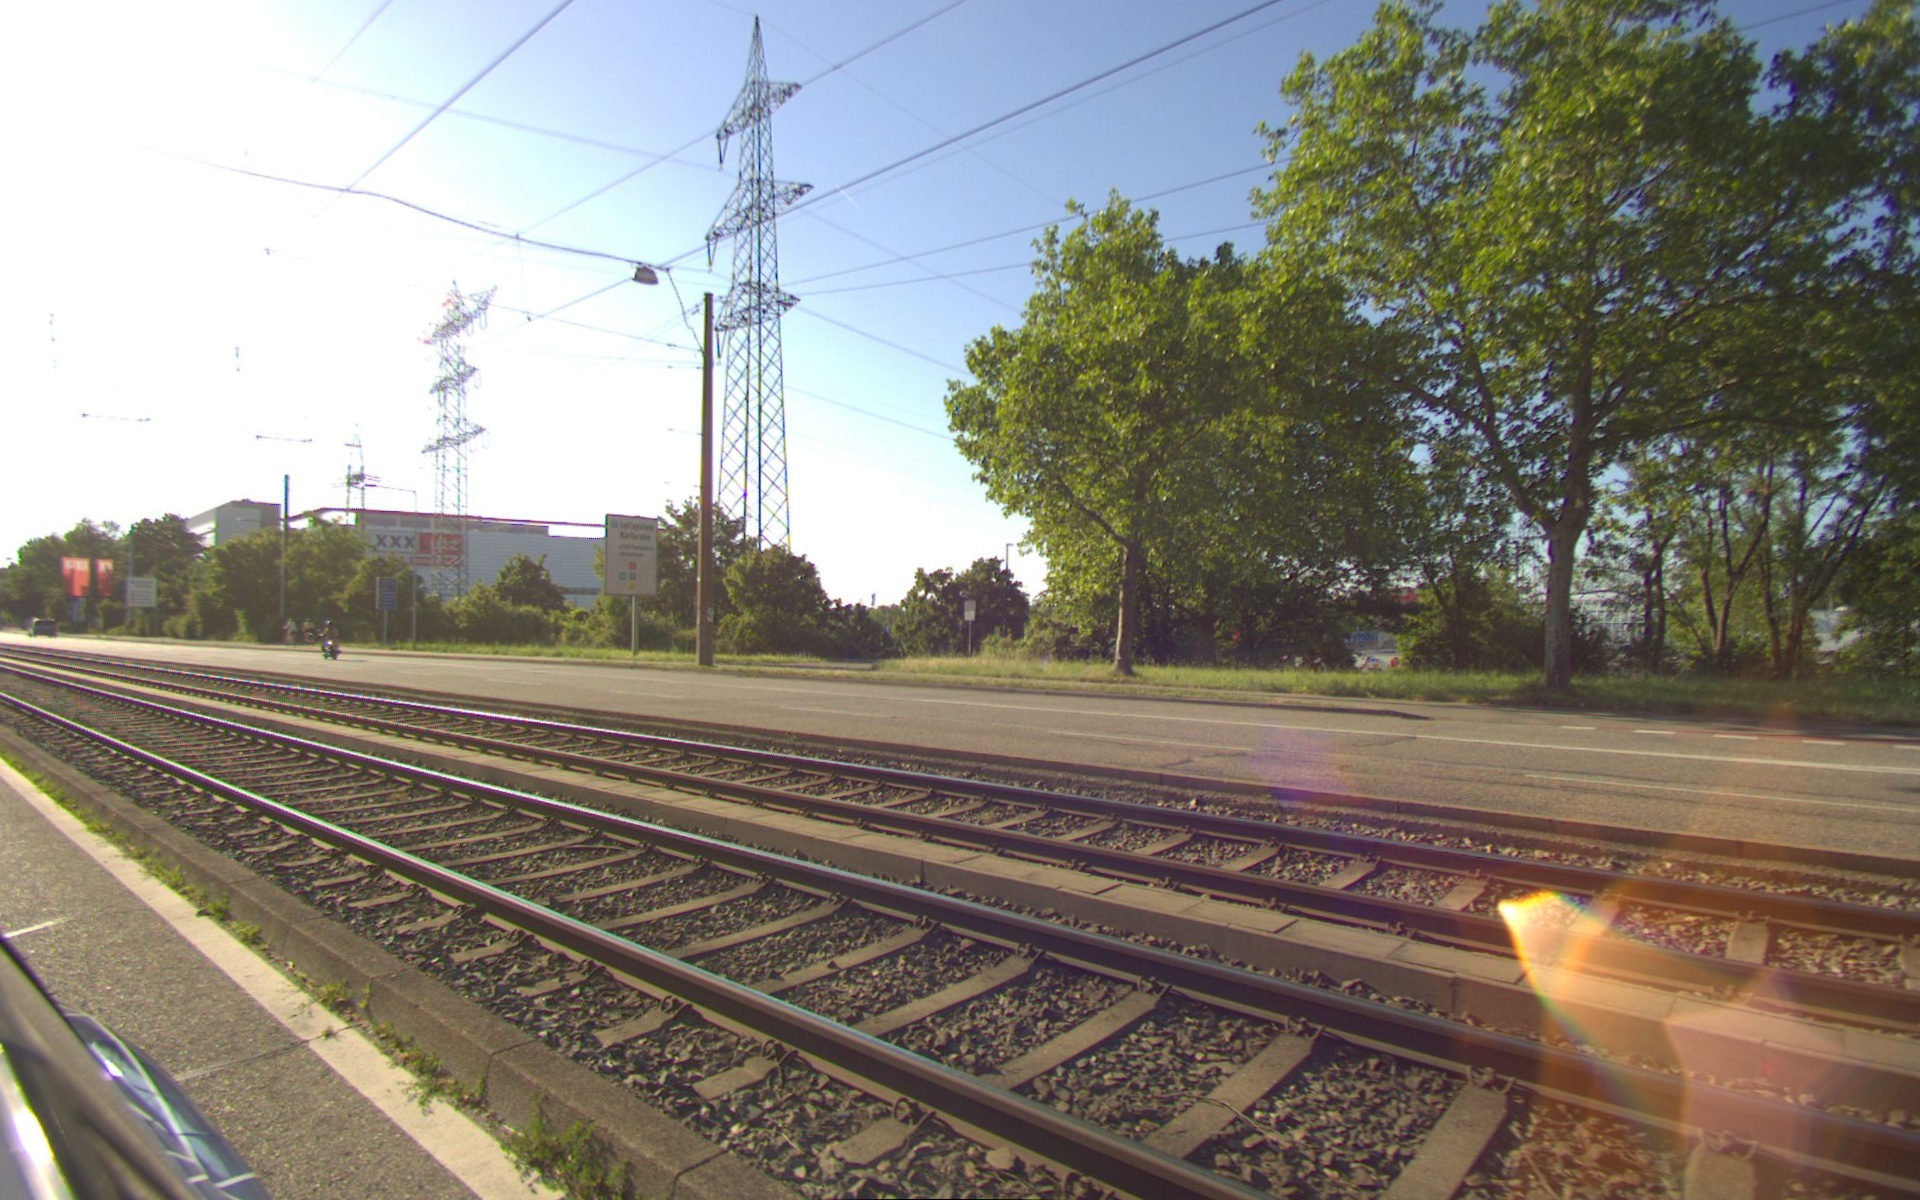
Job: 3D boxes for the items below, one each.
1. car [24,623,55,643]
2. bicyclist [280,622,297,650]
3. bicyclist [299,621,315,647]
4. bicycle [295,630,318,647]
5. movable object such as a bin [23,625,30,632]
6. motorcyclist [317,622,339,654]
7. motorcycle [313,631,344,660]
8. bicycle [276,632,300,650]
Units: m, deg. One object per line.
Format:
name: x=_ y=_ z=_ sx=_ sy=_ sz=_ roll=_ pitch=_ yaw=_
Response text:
car: x=-96.215 y=3.486 z=105.748 sx=4.860 sy=1.937 sz=1.972 roll=-3 pitch=-4 yaw=43
bicyclist: x=-39.836 y=2.131 z=60.001 sx=0.966 sy=1.623 sz=0.584 roll=-1 pitch=-2 yaw=41
bicyclist: x=-39.774 y=2.053 z=61.617 sx=0.905 sy=1.540 sz=0.584 roll=-1 pitch=-2 yaw=41
bicycle: x=-39.844 y=2.328 z=61.661 sx=2.184 sy=1.029 sz=0.584 roll=-1 pitch=-2 yaw=41
movable object such as a bin: x=-136.608 y=4.163 z=148.129 sx=1.083 sy=0.973 sz=0.606 roll=-1 pitch=0 yaw=42
motorcyclist: x=-25.536 y=1.525 z=40.886 sx=0.804 sy=1.280 sz=0.530 roll=-1 pitch=0 yaw=41
motorcycle: x=-25.544 y=1.840 z=40.907 sx=1.901 sy=1.099 sz=0.530 roll=-1 pitch=0 yaw=41
bicycle: x=-39.873 y=2.449 z=60.029 sx=2.184 sy=1.029 sz=0.584 roll=-1 pitch=-2 yaw=41
